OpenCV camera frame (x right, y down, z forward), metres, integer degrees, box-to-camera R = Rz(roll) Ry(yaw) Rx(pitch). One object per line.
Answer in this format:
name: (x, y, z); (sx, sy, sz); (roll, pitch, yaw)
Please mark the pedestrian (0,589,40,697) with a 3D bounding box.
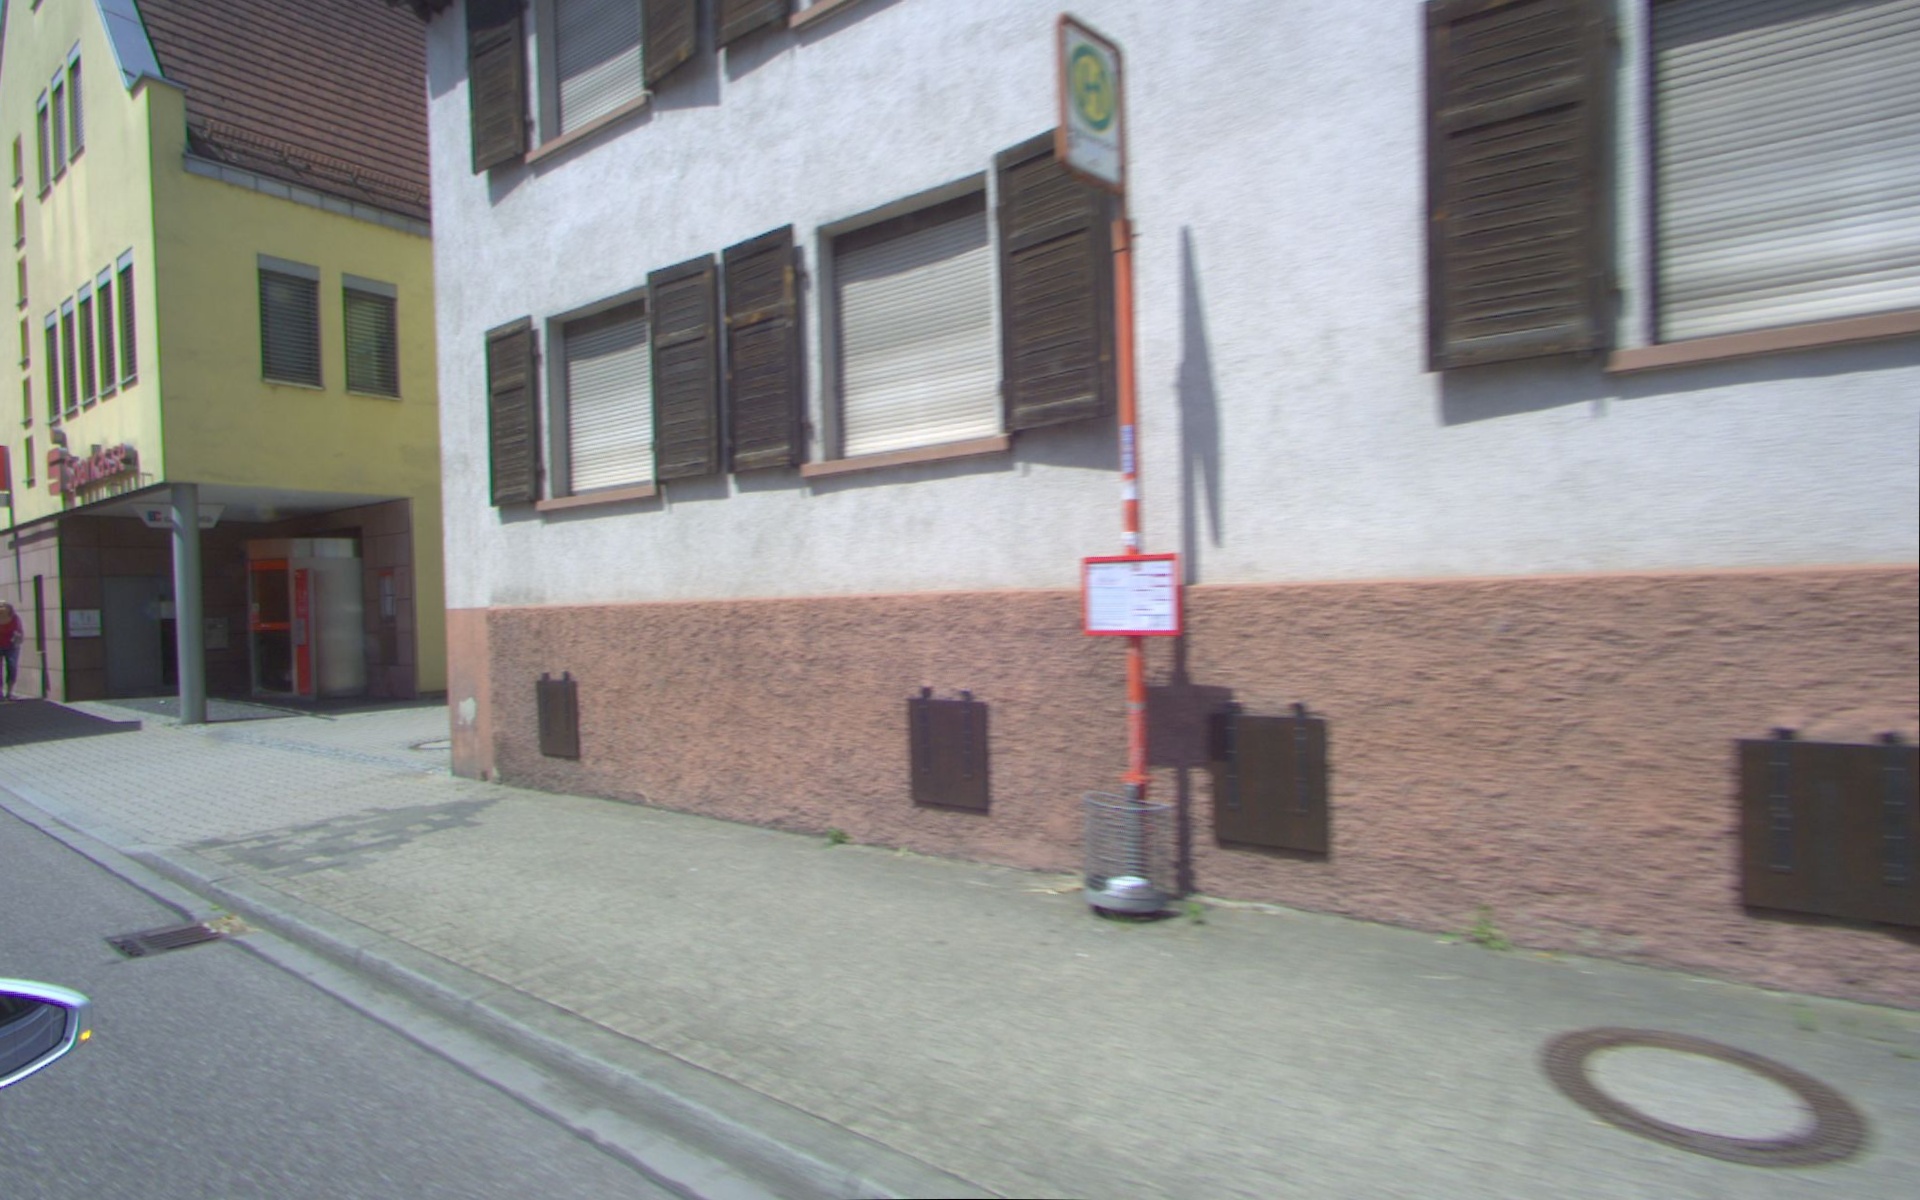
pedestrian: (-16.165, 0.725, 16.834); (0.858, 1.766, 0.767); (-1, 1, 32)
